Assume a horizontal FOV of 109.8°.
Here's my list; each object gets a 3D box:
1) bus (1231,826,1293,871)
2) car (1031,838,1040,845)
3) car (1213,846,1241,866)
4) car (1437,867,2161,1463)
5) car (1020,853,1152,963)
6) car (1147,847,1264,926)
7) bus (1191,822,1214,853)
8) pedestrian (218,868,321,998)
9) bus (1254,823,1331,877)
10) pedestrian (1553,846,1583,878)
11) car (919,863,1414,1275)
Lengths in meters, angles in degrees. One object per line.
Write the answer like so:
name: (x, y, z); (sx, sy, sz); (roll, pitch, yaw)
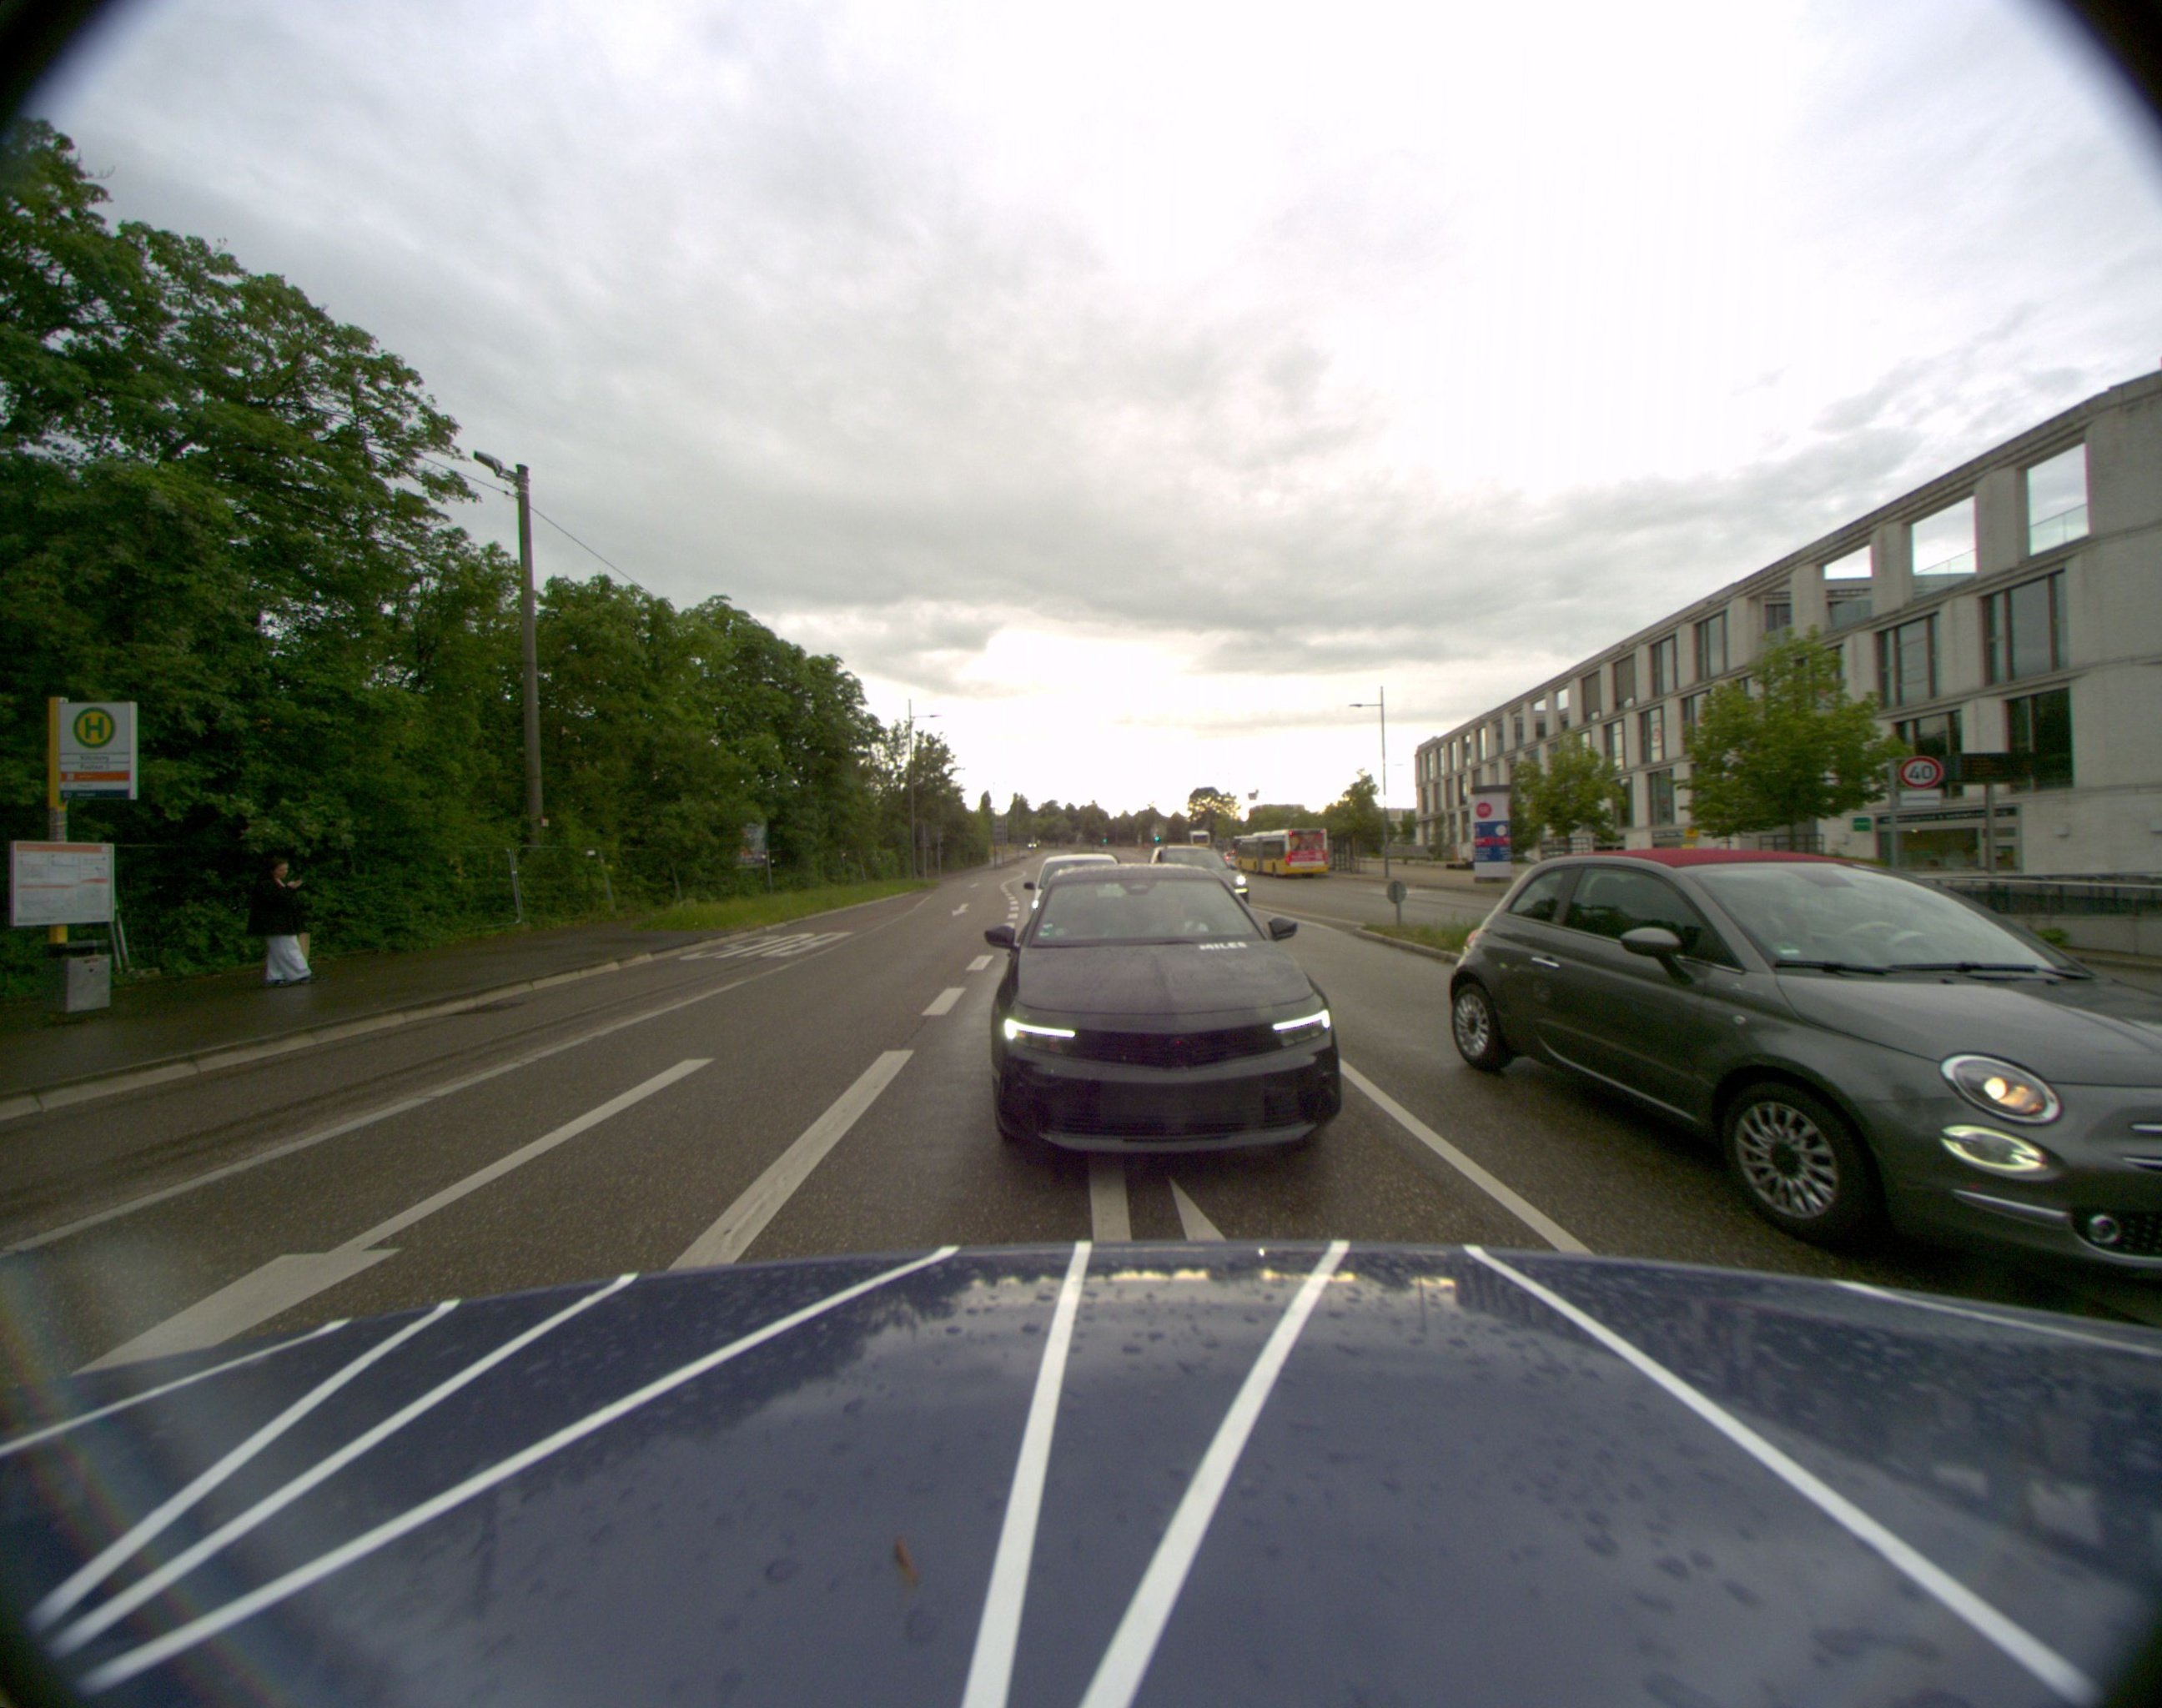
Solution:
bus: (14.104, -0.449, 60.034); (2.693, 3.163, 9.912); (-2, 1, 2)
car: (-12.892, -3.581, 214.836); (2.000, 1.805, 3.996); (-2, 1, -10)
car: (13.561, 0.171, 70.824); (1.867, 1.777, 3.999); (-2, 1, 1)
car: (3.453, 0.856, 3.785); (1.631, 1.473, 3.505); (-1, 1, -2)
car: (0.106, 0.801, 13.724); (1.901, 1.524, 4.767); (-2, 1, 1)
car: (2.849, 0.672, 18.403); (1.934, 1.649, 4.617); (-1, 0, -2)
bus: (18.409, -2.420, 114.133); (2.757, 4.129, 19.359); (-2, 1, 11)
pedestrian: (-10.620, 1.009, 9.963); (0.588, 1.618, 0.661); (-1, 1, 1)
bus: (13.813, -0.310, 50.529); (2.759, 3.194, 9.207); (-2, 1, 2)
pedestrian: (24.755, 0.395, 38.643); (0.982, 1.572, 0.867); (-2, 1, 9)
car: (0.371, 0.883, 5.379); (1.901, 1.456, 4.767); (-2, 1, 1)
